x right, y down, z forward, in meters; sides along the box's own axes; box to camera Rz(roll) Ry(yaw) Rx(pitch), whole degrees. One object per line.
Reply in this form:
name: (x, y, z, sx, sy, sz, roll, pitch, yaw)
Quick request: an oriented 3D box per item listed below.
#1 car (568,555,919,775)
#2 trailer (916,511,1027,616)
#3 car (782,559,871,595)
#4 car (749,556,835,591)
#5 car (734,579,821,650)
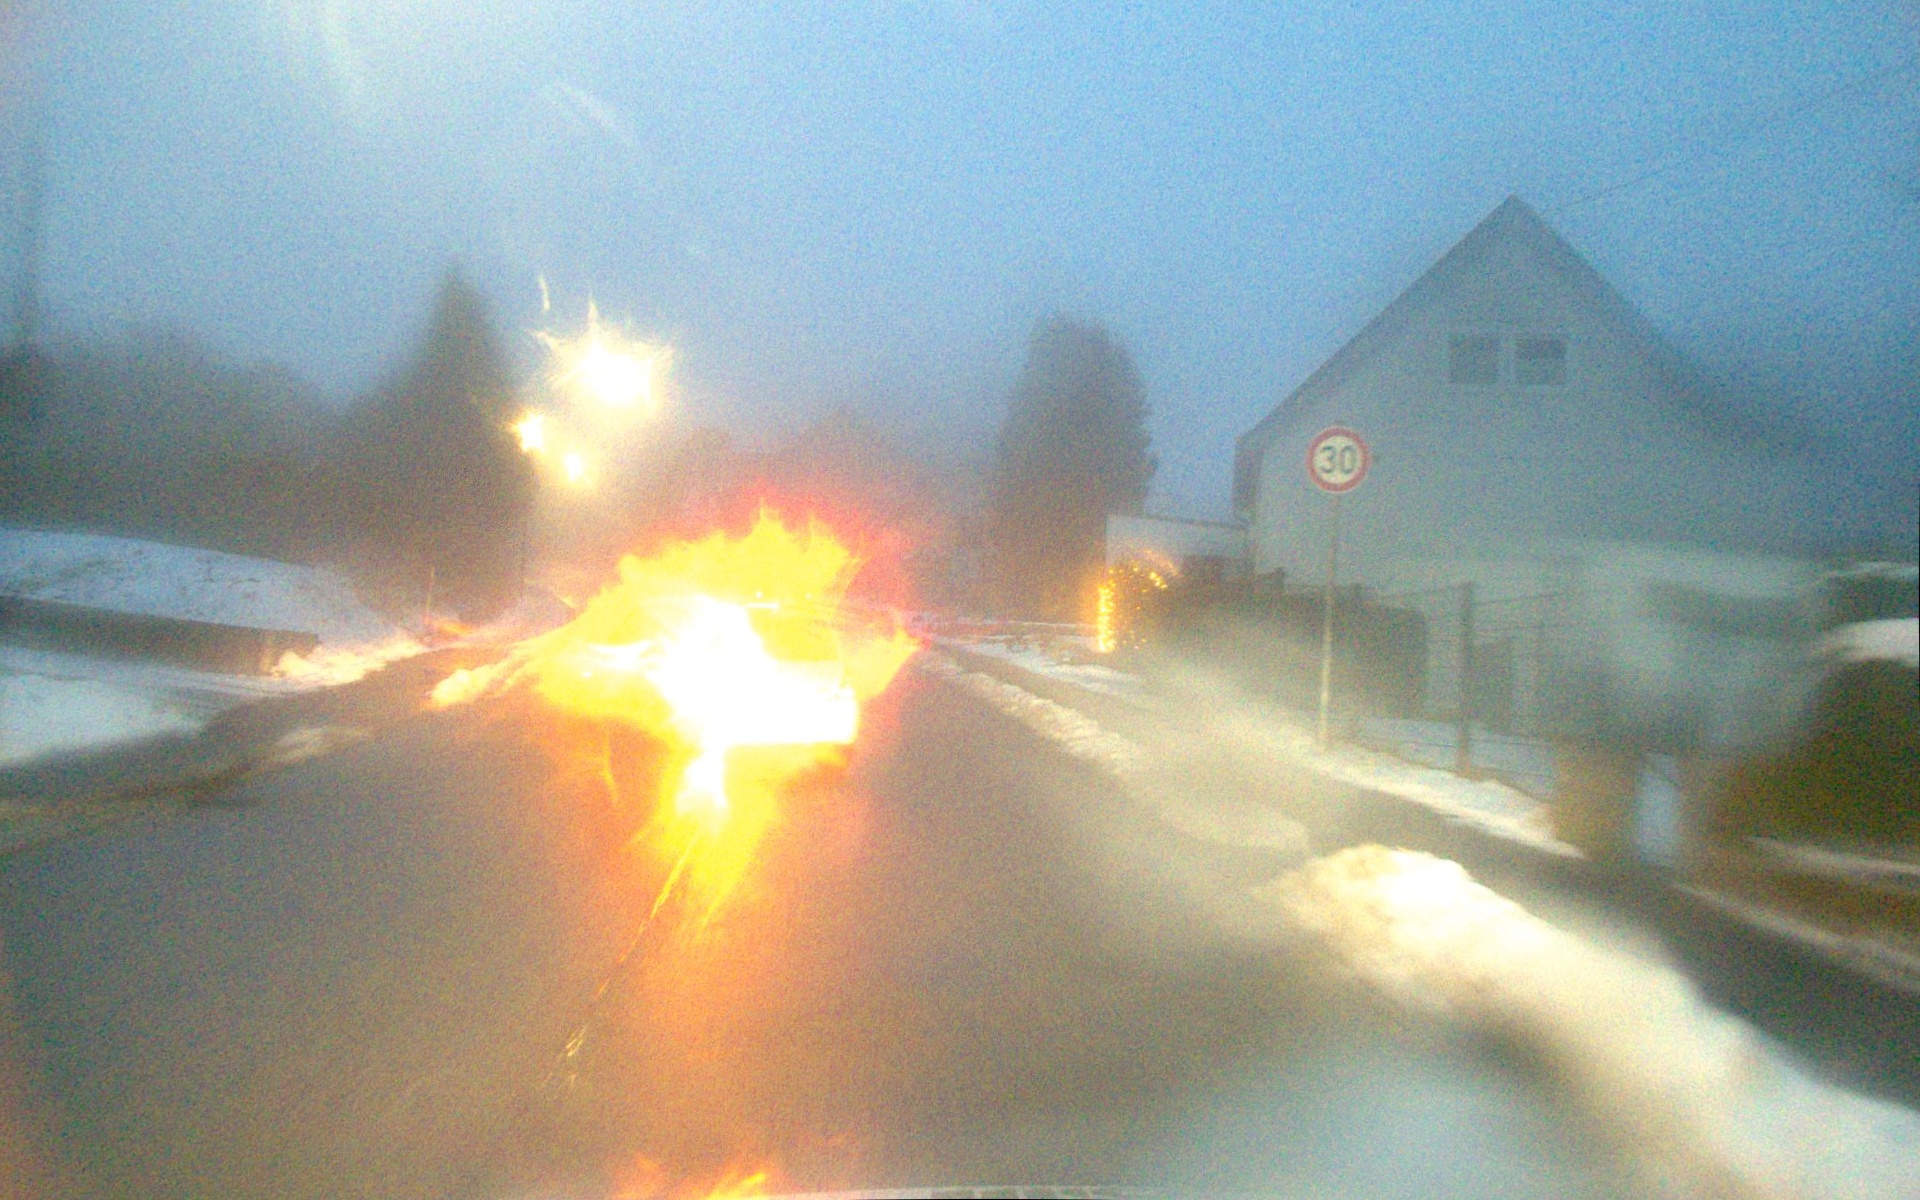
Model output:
car: (-2.045, 0.491, 14.516, 1.874, 1.637, 3.966, 1, 0, -26)
trailer: (0.349, -1.335, 62.151, 2.827, 3.622, 5.043, 3, 0, -15)
car: (-6.399, -1.074, 79.042, 4.160, 1.586, 1.998, 1, -1, -5)
car: (-8.302, -1.299, 81.671, 4.083, 1.586, 1.941, 1, -1, -11)
car: (-4.879, 0.400, 43.873, 1.958, 1.767, 3.867, 1, -1, -11)
